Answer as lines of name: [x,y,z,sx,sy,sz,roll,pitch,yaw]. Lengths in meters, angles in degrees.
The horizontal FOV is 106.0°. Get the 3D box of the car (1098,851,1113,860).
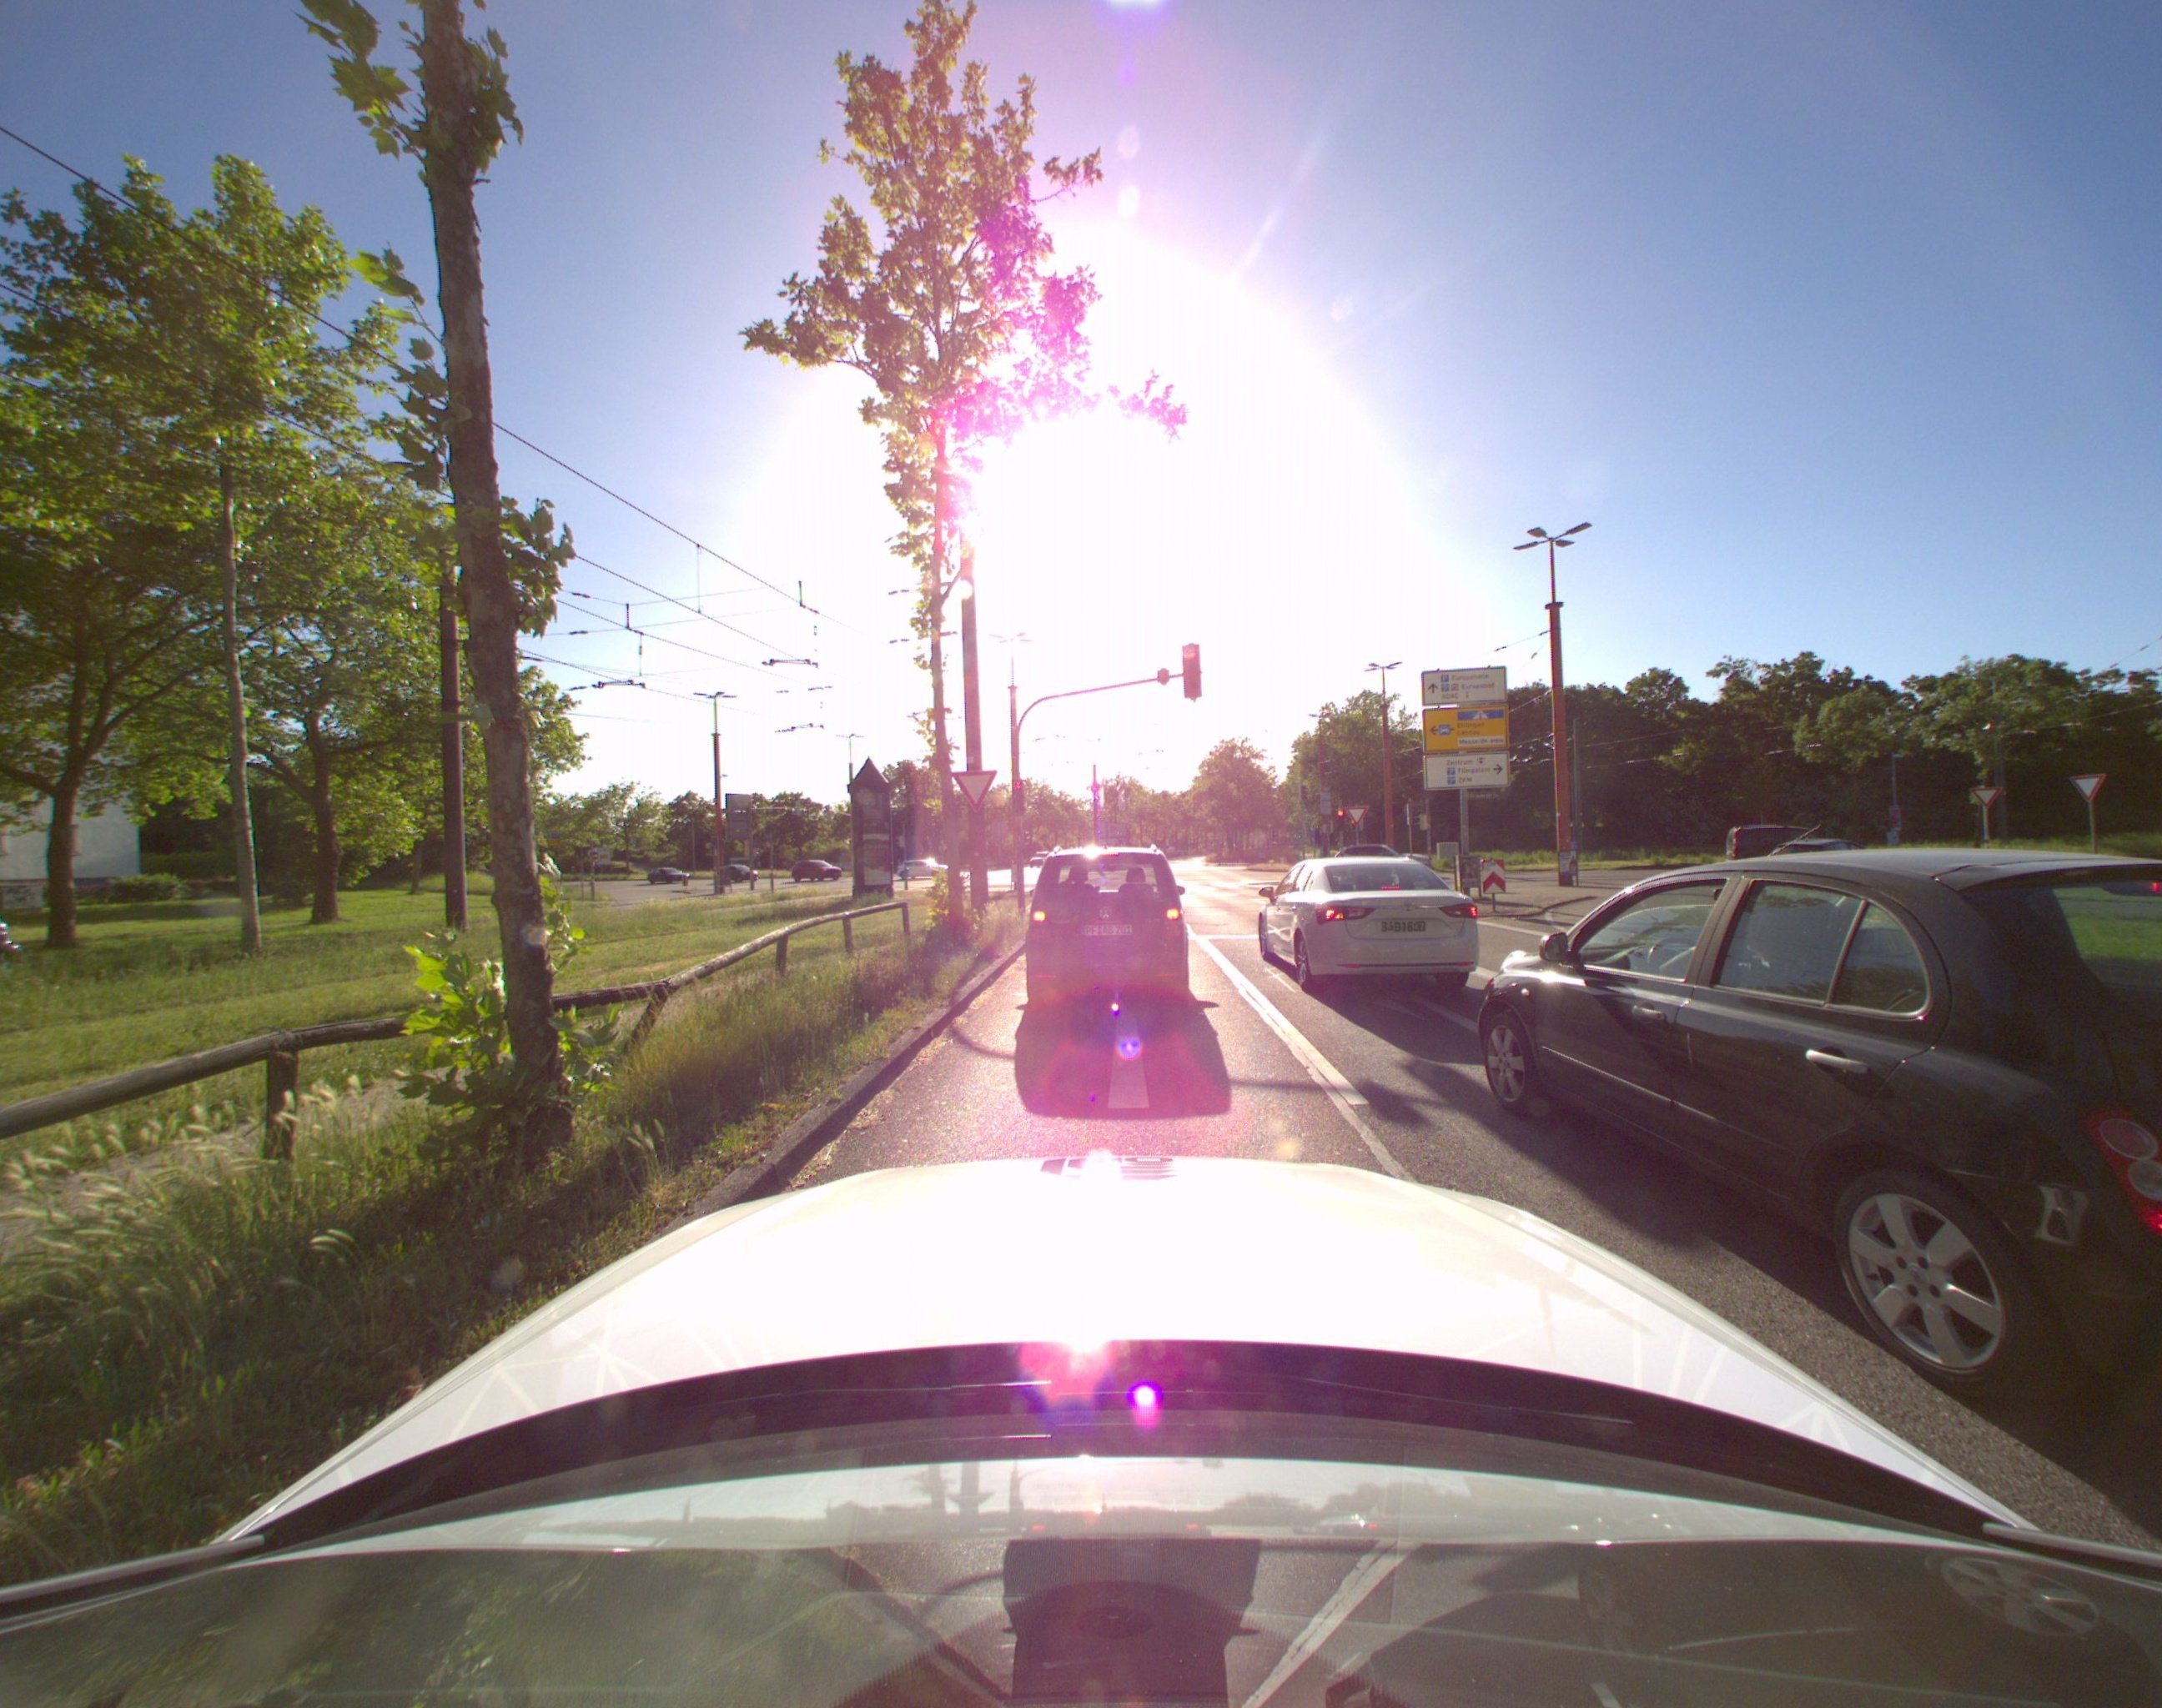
car: [4.769,0.299,158.165,1.979,1.684,4.846,-2,0,14]

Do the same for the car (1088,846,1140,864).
car: [2.910,0.083,71.583,4.237,1.464,1.895,-1,0,-31]

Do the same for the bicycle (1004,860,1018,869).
bicycle: [-8.140,1.227,94.791,0.728,1.090,1.971,-2,0,21]

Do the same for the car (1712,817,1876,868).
car: [28.760,-0.429,33.081,4.734,1.836,1.926,-2,0,32]

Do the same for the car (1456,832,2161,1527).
car: [3.169,0.696,3.511,1.550,1.506,3.517,-2,0,2]

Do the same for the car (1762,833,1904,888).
car: [22.450,0.163,24.312,3.898,1.469,1.737,-2,0,-25]

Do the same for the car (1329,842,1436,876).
car: [15.189,0.245,41.083,4.734,1.598,1.926,-2,0,32]

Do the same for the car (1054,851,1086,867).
car: [-1.224,0.513,91.758,1.977,1.684,4.853,-2,0,20]

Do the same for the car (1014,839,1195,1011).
car: [0.297,0.698,9.987,1.731,1.641,4.002,-2,0,2]

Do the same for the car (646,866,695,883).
car: [-38.345,1.873,76.051,4.187,1.464,1.926,-2,0,28]

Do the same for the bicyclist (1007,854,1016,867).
bicyclist: [-8.109,0.761,95.012,0.686,1.457,0.879,-2,-1,20]

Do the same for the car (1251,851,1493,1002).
car: [3.299,0.722,10.114,1.708,1.454,4.147,-2,0,3]

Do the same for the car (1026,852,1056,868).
car: [-4.603,0.659,94.751,1.978,1.684,4.850,-2,0,17]

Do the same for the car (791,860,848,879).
car: [-21.261,1.277,66.225,4.318,1.464,1.926,-2,0,29]

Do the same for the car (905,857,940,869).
car: [-18.761,1.075,96.633,3.817,1.310,1.651,-2,0,-22]

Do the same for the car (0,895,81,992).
car: [-17.404,1.410,11.488,1.813,1.420,3.762,-2,0,4]

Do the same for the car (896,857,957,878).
car: [-11.881,1.049,62.633,4.178,1.464,1.922,-2,0,15]

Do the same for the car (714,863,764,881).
car: [-29.908,1.557,71.189,4.004,1.464,1.926,-2,0,29]
